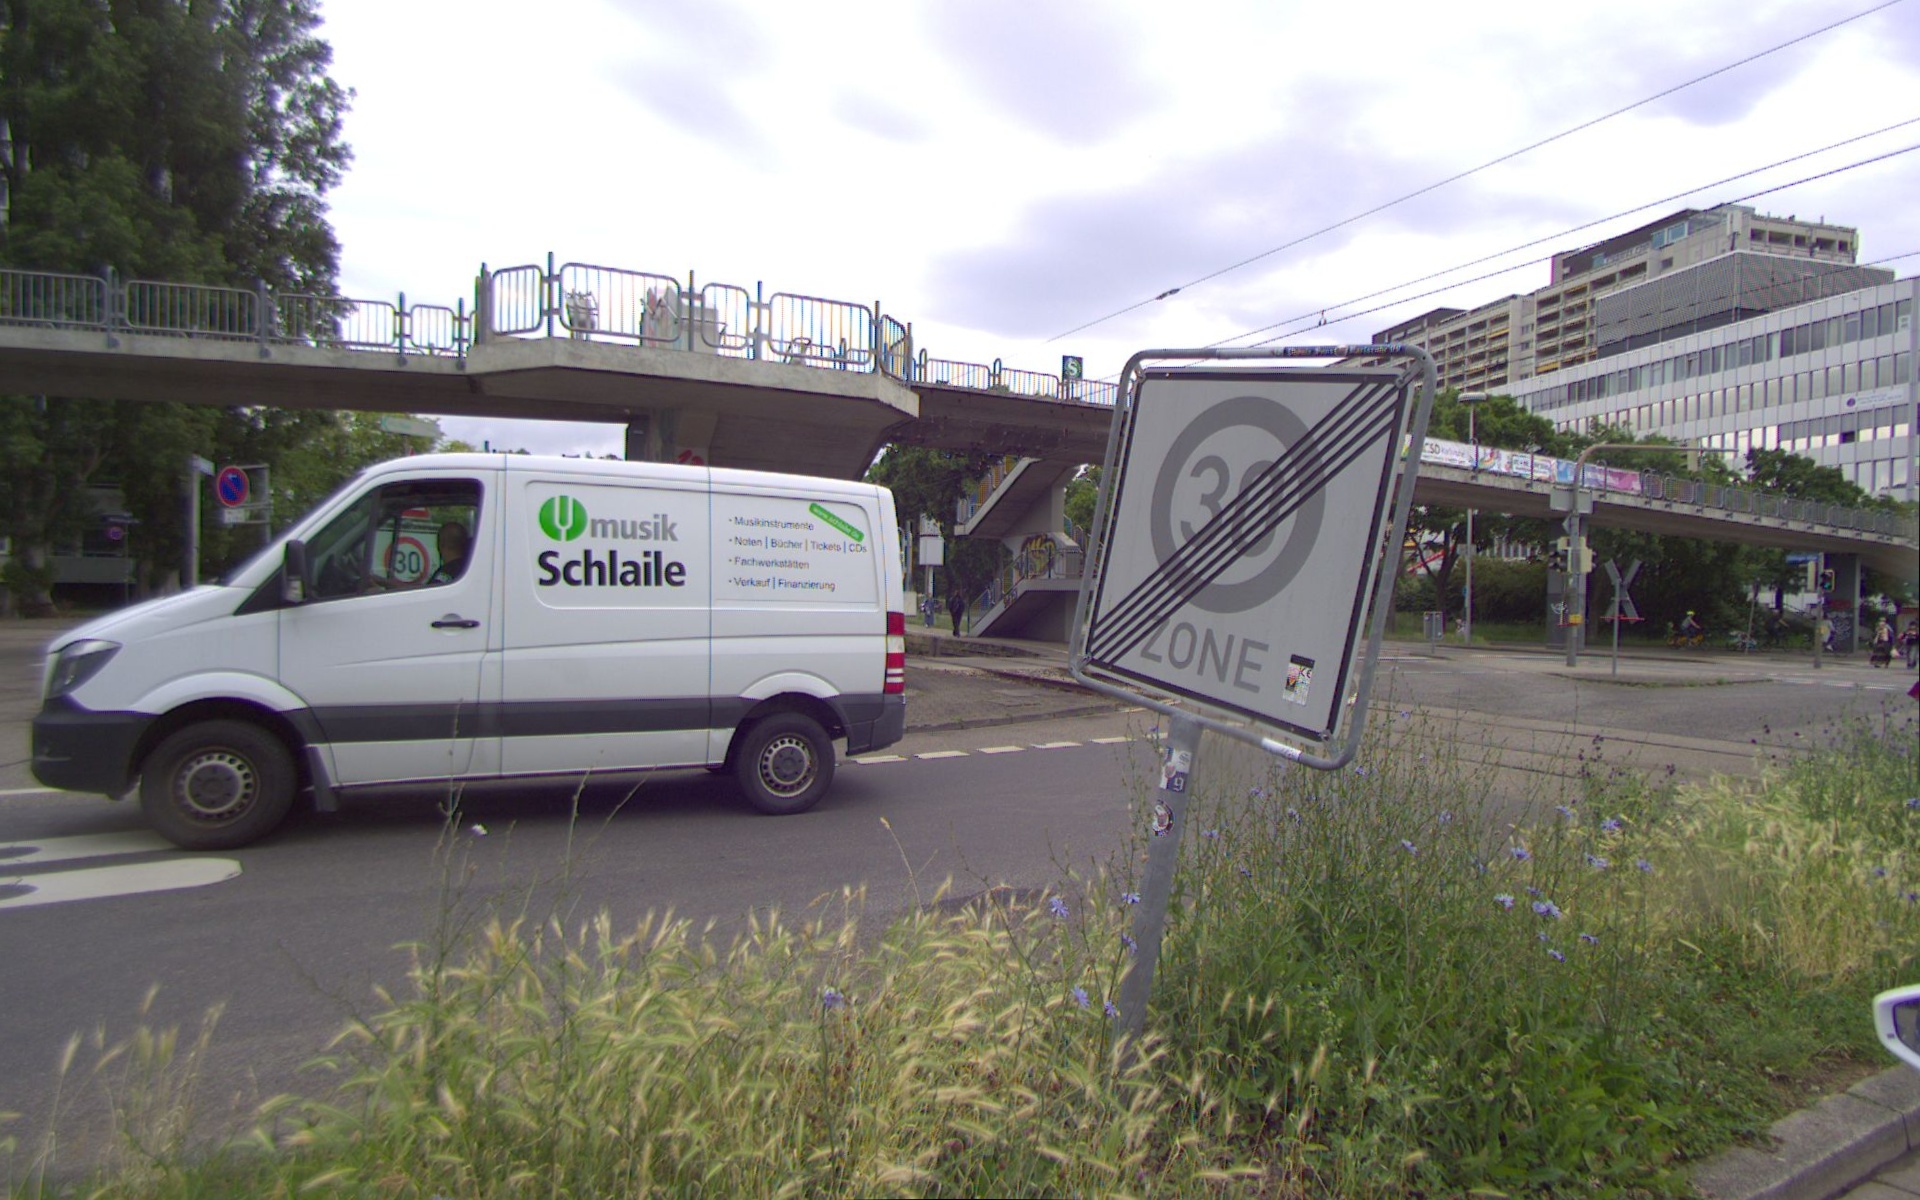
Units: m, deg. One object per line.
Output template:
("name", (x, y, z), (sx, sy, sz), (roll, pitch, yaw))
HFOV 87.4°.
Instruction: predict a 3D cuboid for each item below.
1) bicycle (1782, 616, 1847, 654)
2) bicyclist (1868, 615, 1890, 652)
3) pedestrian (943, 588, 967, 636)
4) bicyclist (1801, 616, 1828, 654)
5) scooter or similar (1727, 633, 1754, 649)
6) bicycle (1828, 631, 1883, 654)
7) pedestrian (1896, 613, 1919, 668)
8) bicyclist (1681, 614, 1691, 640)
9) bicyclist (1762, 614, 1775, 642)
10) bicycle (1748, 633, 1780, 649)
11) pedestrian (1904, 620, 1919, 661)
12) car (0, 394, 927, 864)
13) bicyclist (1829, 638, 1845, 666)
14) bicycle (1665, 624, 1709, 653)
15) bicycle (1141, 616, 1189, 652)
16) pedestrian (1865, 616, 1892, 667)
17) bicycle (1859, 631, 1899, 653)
("bicycle", (38.605, 1.578, 45.383), (2.318, 1.647, 0.528), (1, 1, 6))
("bicyclist", (41.826, 1.516, 45.731), (0.525, 1.666, 0.562), (2, 0, -29))
("pedestrian", (-0.173, 0.424, 35.311), (0.593, 1.664, 0.659), (1, 1, -25))
("bicyclist", (38.625, 1.579, 45.410), (0.735, 1.647, 0.528), (1, 1, 6))
("scooter or similar", (37.227, 1.962, 47.913), (0.977, 0.724, 0.406), (1, 1, 4))
("bicycle", (39.719, 1.879, 44.564), (1.918, 0.962, 0.763), (1, 0, -9))
("pedestrian", (32.303, 1.372, 34.090), (0.795, 1.828, 0.632), (1, 1, -39))
("bicyclist", (35.195, 1.307, 48.694), (0.400, 1.270, 0.276), (2, 1, 36))
("bicyclist", (38.546, 1.330, 47.887), (0.376, 1.321, 0.278), (1, 1, 3))
("bicycle", (38.338, 1.943, 47.900), (1.272, 0.701, 0.290), (1, 1, 2))
("pedestrian", (37.915, 1.588, 39.901), (0.572, 1.600, 0.777), (2, 1, 42))
("car", (-3.013, 0.184, 7.052), (5.140, 2.323, 2.126), (1, 0, -27))
("bicyclist", (39.283, 2.331, 44.976), (0.372, 1.197, 0.403), (0, 1, -28))
("bicycle", (35.196, 1.870, 48.661), (1.682, 1.321, 0.387), (2, 1, 36))
("bicycle", (5.840, 0.950, 28.708), (0.368, 0.934, 2.029), (1, 0, -18))
("pedestrian", (31.478, 1.402, 34.426), (0.402, 1.714, 0.612), (1, 1, -43))
("bicycle", (41.800, 1.918, 45.691), (2.493, 0.938, 0.628), (1, 1, -30))
